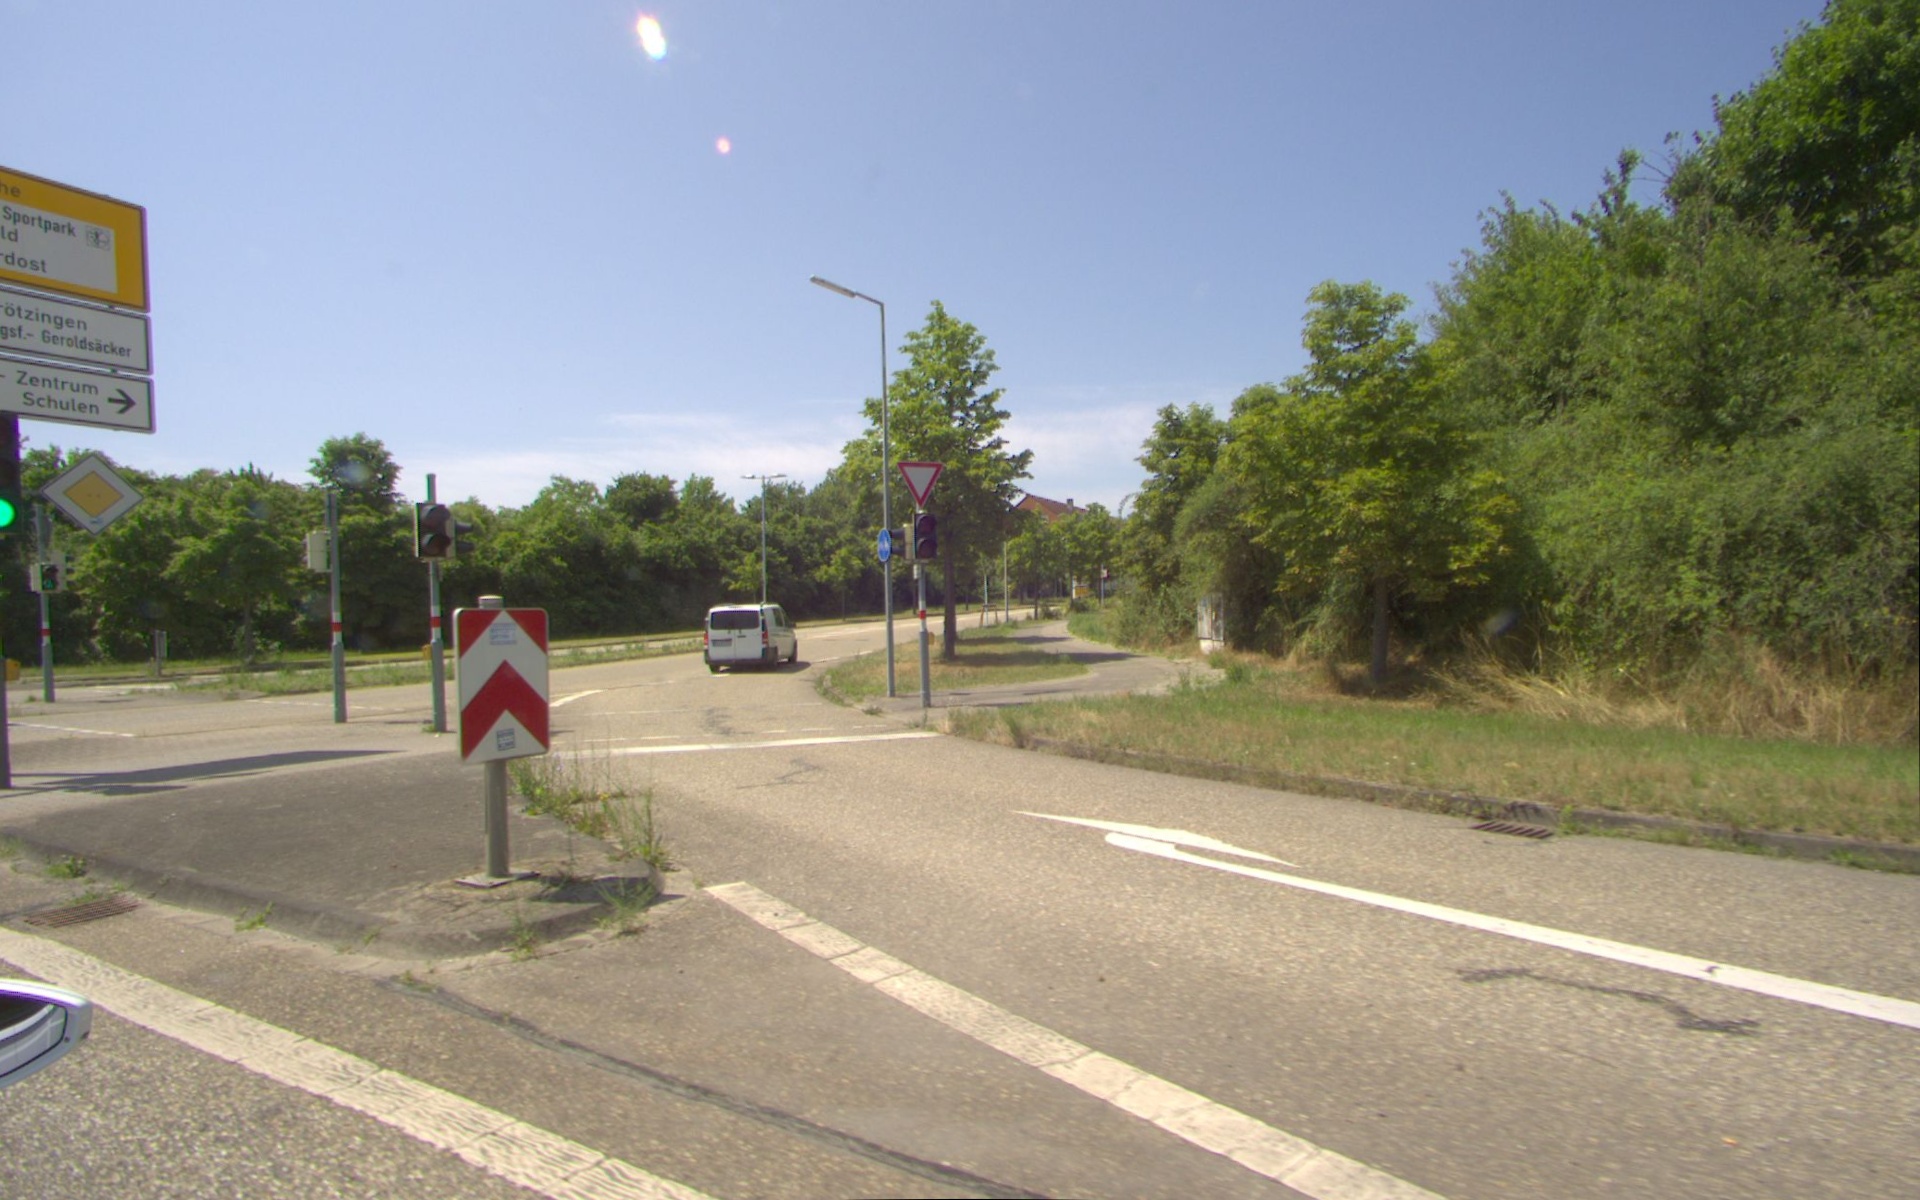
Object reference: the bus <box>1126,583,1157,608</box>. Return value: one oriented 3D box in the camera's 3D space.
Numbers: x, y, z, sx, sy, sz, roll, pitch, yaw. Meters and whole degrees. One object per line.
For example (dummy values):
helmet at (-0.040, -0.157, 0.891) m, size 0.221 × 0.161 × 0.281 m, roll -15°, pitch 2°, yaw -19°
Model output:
bus at (24.054, -0.548, 132.264) m, size 2.584 × 3.127 × 12.063 m, roll -1°, pitch -1°, yaw 17°

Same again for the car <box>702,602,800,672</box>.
car at (-6.075, 1.013, 29.650) m, size 1.830 × 1.842 × 4.907 m, roll -1°, pitch 0°, yaw 0°
